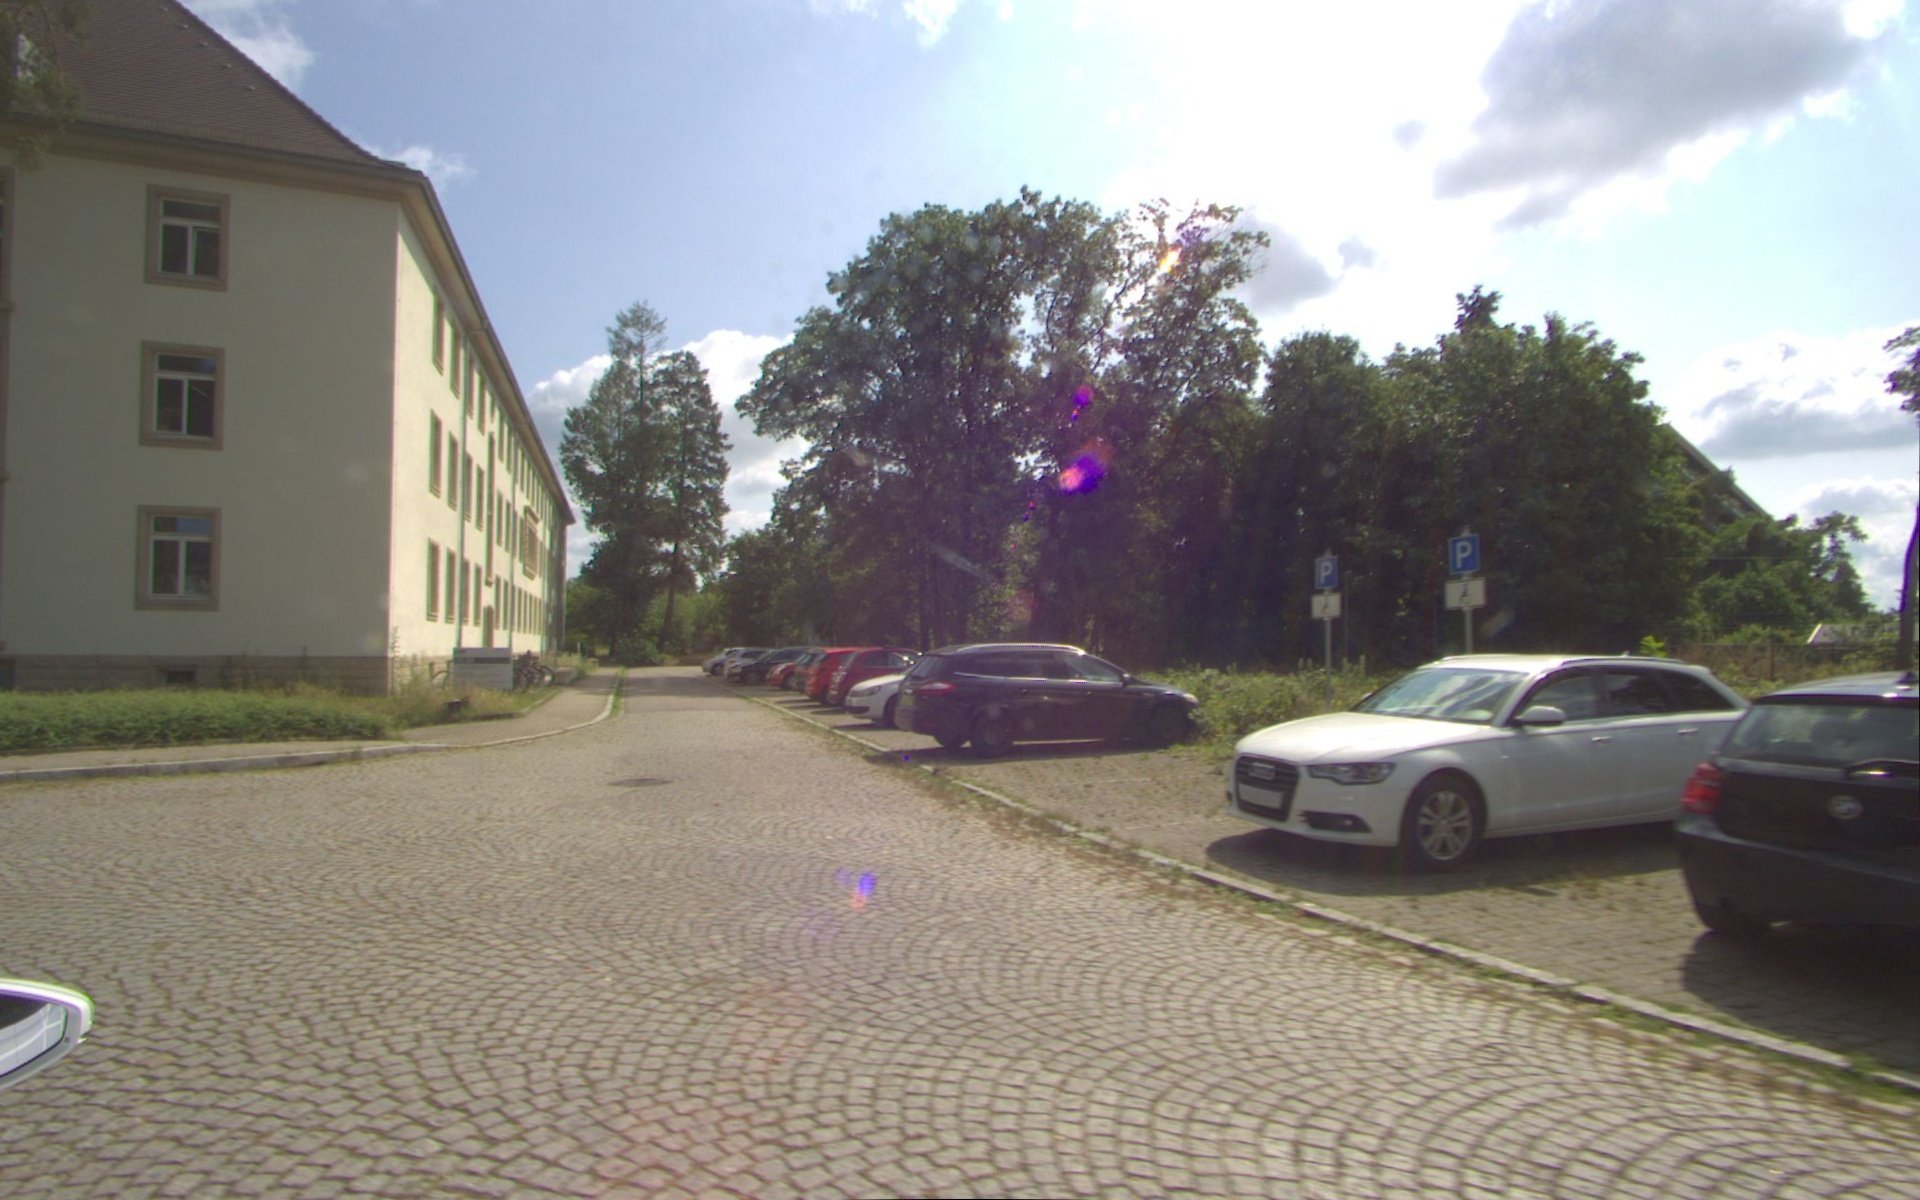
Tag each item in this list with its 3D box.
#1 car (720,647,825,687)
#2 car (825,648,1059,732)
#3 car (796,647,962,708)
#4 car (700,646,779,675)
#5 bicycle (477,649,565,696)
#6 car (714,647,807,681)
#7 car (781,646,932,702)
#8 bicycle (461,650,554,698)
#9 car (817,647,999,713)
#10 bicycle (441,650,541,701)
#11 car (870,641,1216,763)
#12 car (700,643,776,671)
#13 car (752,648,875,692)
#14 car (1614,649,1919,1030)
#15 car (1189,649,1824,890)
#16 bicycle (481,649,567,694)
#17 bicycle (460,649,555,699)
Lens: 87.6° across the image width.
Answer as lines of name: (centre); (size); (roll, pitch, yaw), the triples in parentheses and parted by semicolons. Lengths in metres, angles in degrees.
car: (-7.773, 2.739, 41.470); (4.127, 1.562, 1.818); (0, -3, -17)
car: (-0.370, 1.729, 19.947); (4.338, 1.502, 1.762); (0, -3, -21)
car: (-2.176, 2.026, 26.575); (4.127, 1.502, 1.757); (0, -3, -17)
car: (-12.082, 3.287, 54.877); (4.127, 1.502, 1.818); (0, -3, -17)
bicycle: (-12.317, 2.037, 28.172); (2.190, 1.276, 0.622); (1, -2, -17)
car: (-9.292, 2.952, 46.570); (4.127, 1.502, 1.818); (0, -3, -17)
car: (-3.032, 2.126, 29.144); (4.127, 1.502, 1.818); (0, -3, -17)
bicycle: (-12.271, 1.999, 27.214); (2.188, 1.276, 0.623); (1, -2, -13)
car: (-1.310, 1.929, 24.633); (4.147, 1.502, 1.818); (0, -3, -17)
bicycle: (-11.909, 1.914, 25.503); (2.188, 1.276, 0.623); (1, -2, -13)
car: (1.223, 1.423, 14.895); (4.786, 1.572, 1.876); (0, -3, -21)
car: (-12.761, 3.269, 57.558); (4.127, 1.502, 1.818); (0, -3, -17)
car: (-5.371, 2.520, 36.559); (4.205, 1.502, 1.818); (0, -3, -17)
car: (5.737, 1.056, 5.417); (4.273, 1.519, 1.822); (1, -1, -27)
car: (4.463, 1.191, 8.229); (4.794, 1.491, 1.870); (0, -1, -19)
bicycle: (-12.658, 2.084, 29.119); (2.190, 1.276, 0.622); (1, -2, -17)
bicycle: (-11.901, 1.950, 26.424); (2.190, 1.276, 0.622); (1, -2, -17)
